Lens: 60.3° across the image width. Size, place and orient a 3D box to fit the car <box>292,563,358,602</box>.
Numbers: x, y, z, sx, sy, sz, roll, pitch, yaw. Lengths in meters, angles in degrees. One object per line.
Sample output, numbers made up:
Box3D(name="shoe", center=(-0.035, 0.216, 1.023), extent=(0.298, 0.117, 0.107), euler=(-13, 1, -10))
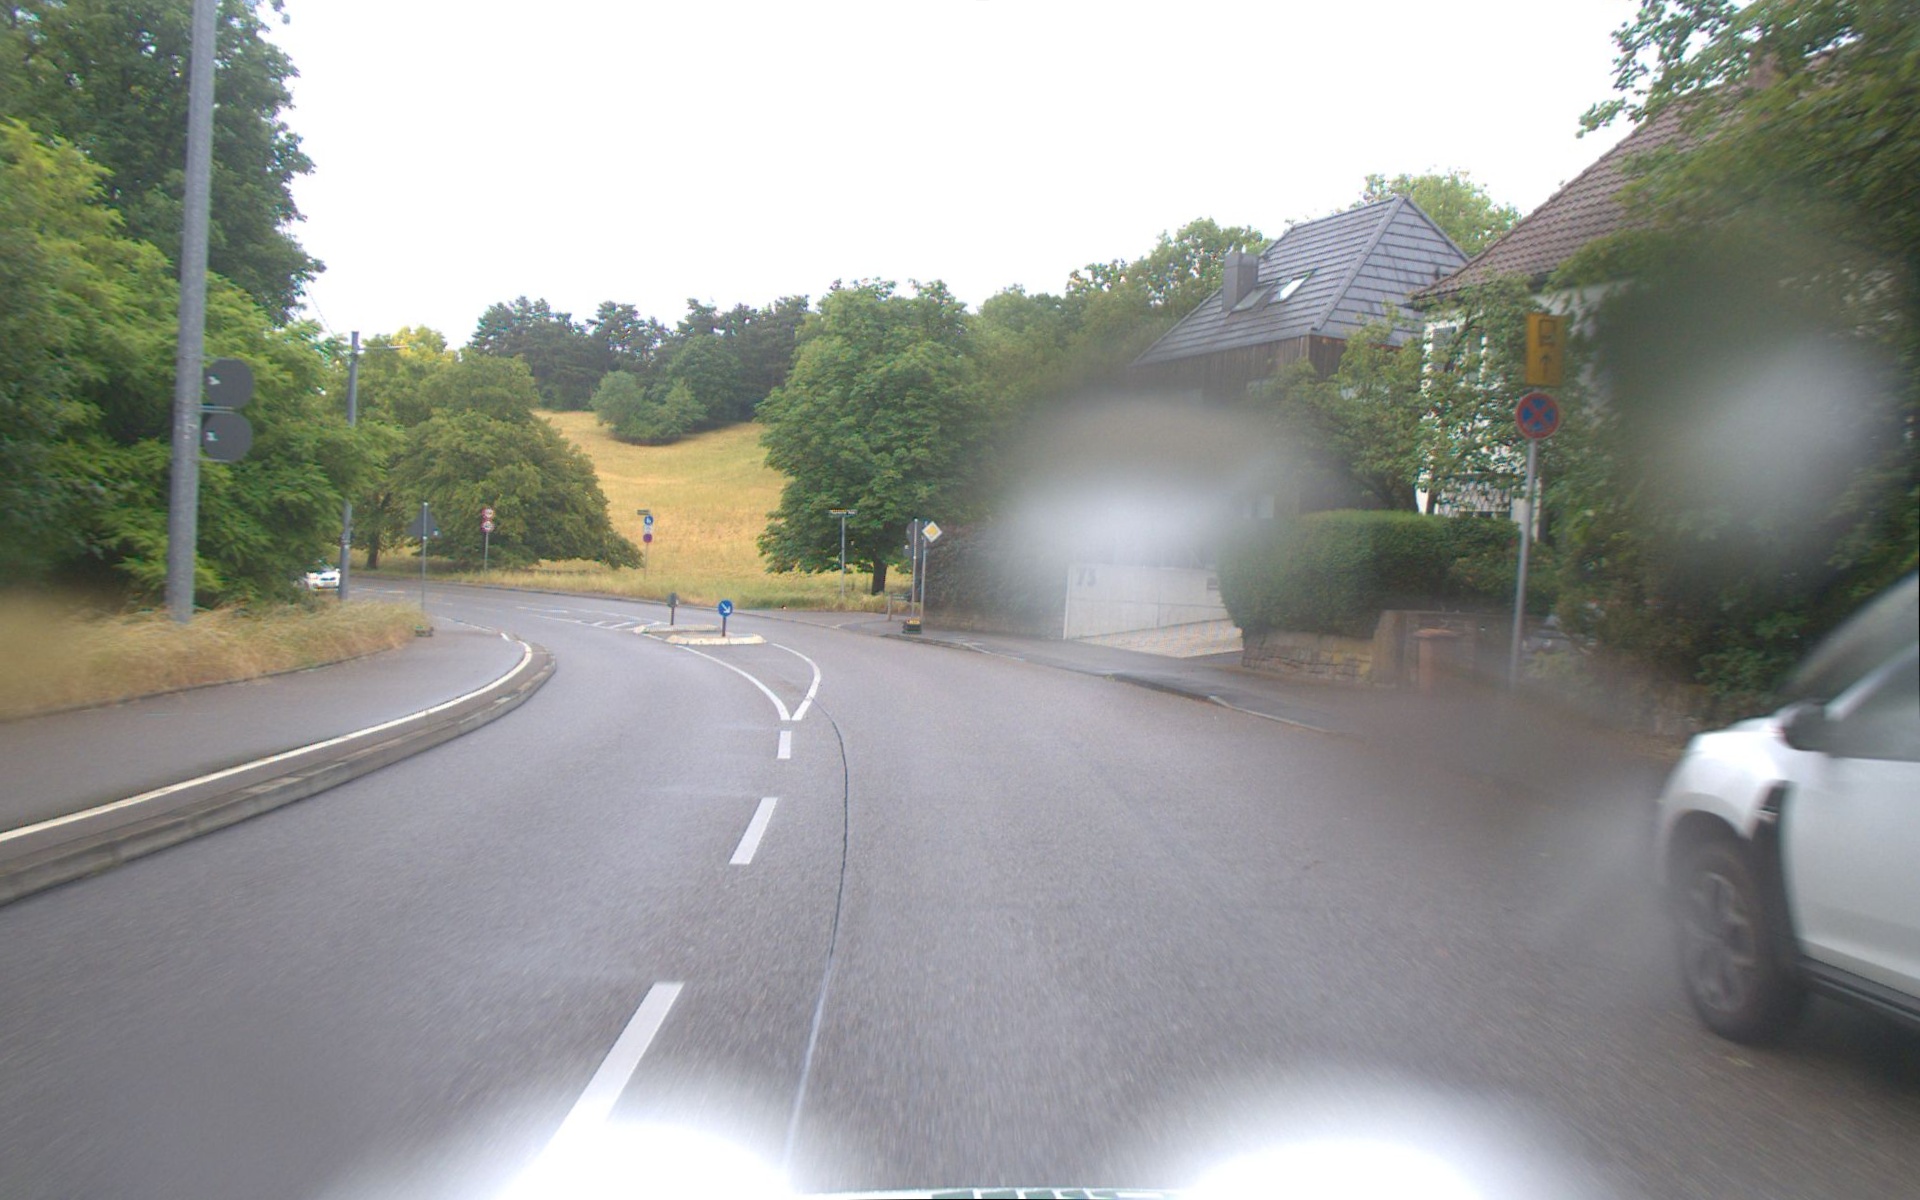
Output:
Box3D(name="car", center=(-28.722, -0.830, 74.790), extent=(1.780, 1.511, 3.949), euler=(-3, 5, -36))

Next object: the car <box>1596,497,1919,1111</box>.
Box3D(name="car", center=(3.575, 0.583, 4.600), extent=(1.710, 1.735, 4.499), euler=(0, 0, -3))

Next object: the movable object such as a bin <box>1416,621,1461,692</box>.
Box3D(name="movable object such as a bin", center=(6.562, 0.771, 22.675), extent=(0.411, 0.936, 0.462), euler=(1, 0, -12))

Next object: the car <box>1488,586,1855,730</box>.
Box3D(name="car", center=(8.784, 0.704, 20.485), extent=(3.923, 1.522, 1.765), euler=(3, 1, -17))
